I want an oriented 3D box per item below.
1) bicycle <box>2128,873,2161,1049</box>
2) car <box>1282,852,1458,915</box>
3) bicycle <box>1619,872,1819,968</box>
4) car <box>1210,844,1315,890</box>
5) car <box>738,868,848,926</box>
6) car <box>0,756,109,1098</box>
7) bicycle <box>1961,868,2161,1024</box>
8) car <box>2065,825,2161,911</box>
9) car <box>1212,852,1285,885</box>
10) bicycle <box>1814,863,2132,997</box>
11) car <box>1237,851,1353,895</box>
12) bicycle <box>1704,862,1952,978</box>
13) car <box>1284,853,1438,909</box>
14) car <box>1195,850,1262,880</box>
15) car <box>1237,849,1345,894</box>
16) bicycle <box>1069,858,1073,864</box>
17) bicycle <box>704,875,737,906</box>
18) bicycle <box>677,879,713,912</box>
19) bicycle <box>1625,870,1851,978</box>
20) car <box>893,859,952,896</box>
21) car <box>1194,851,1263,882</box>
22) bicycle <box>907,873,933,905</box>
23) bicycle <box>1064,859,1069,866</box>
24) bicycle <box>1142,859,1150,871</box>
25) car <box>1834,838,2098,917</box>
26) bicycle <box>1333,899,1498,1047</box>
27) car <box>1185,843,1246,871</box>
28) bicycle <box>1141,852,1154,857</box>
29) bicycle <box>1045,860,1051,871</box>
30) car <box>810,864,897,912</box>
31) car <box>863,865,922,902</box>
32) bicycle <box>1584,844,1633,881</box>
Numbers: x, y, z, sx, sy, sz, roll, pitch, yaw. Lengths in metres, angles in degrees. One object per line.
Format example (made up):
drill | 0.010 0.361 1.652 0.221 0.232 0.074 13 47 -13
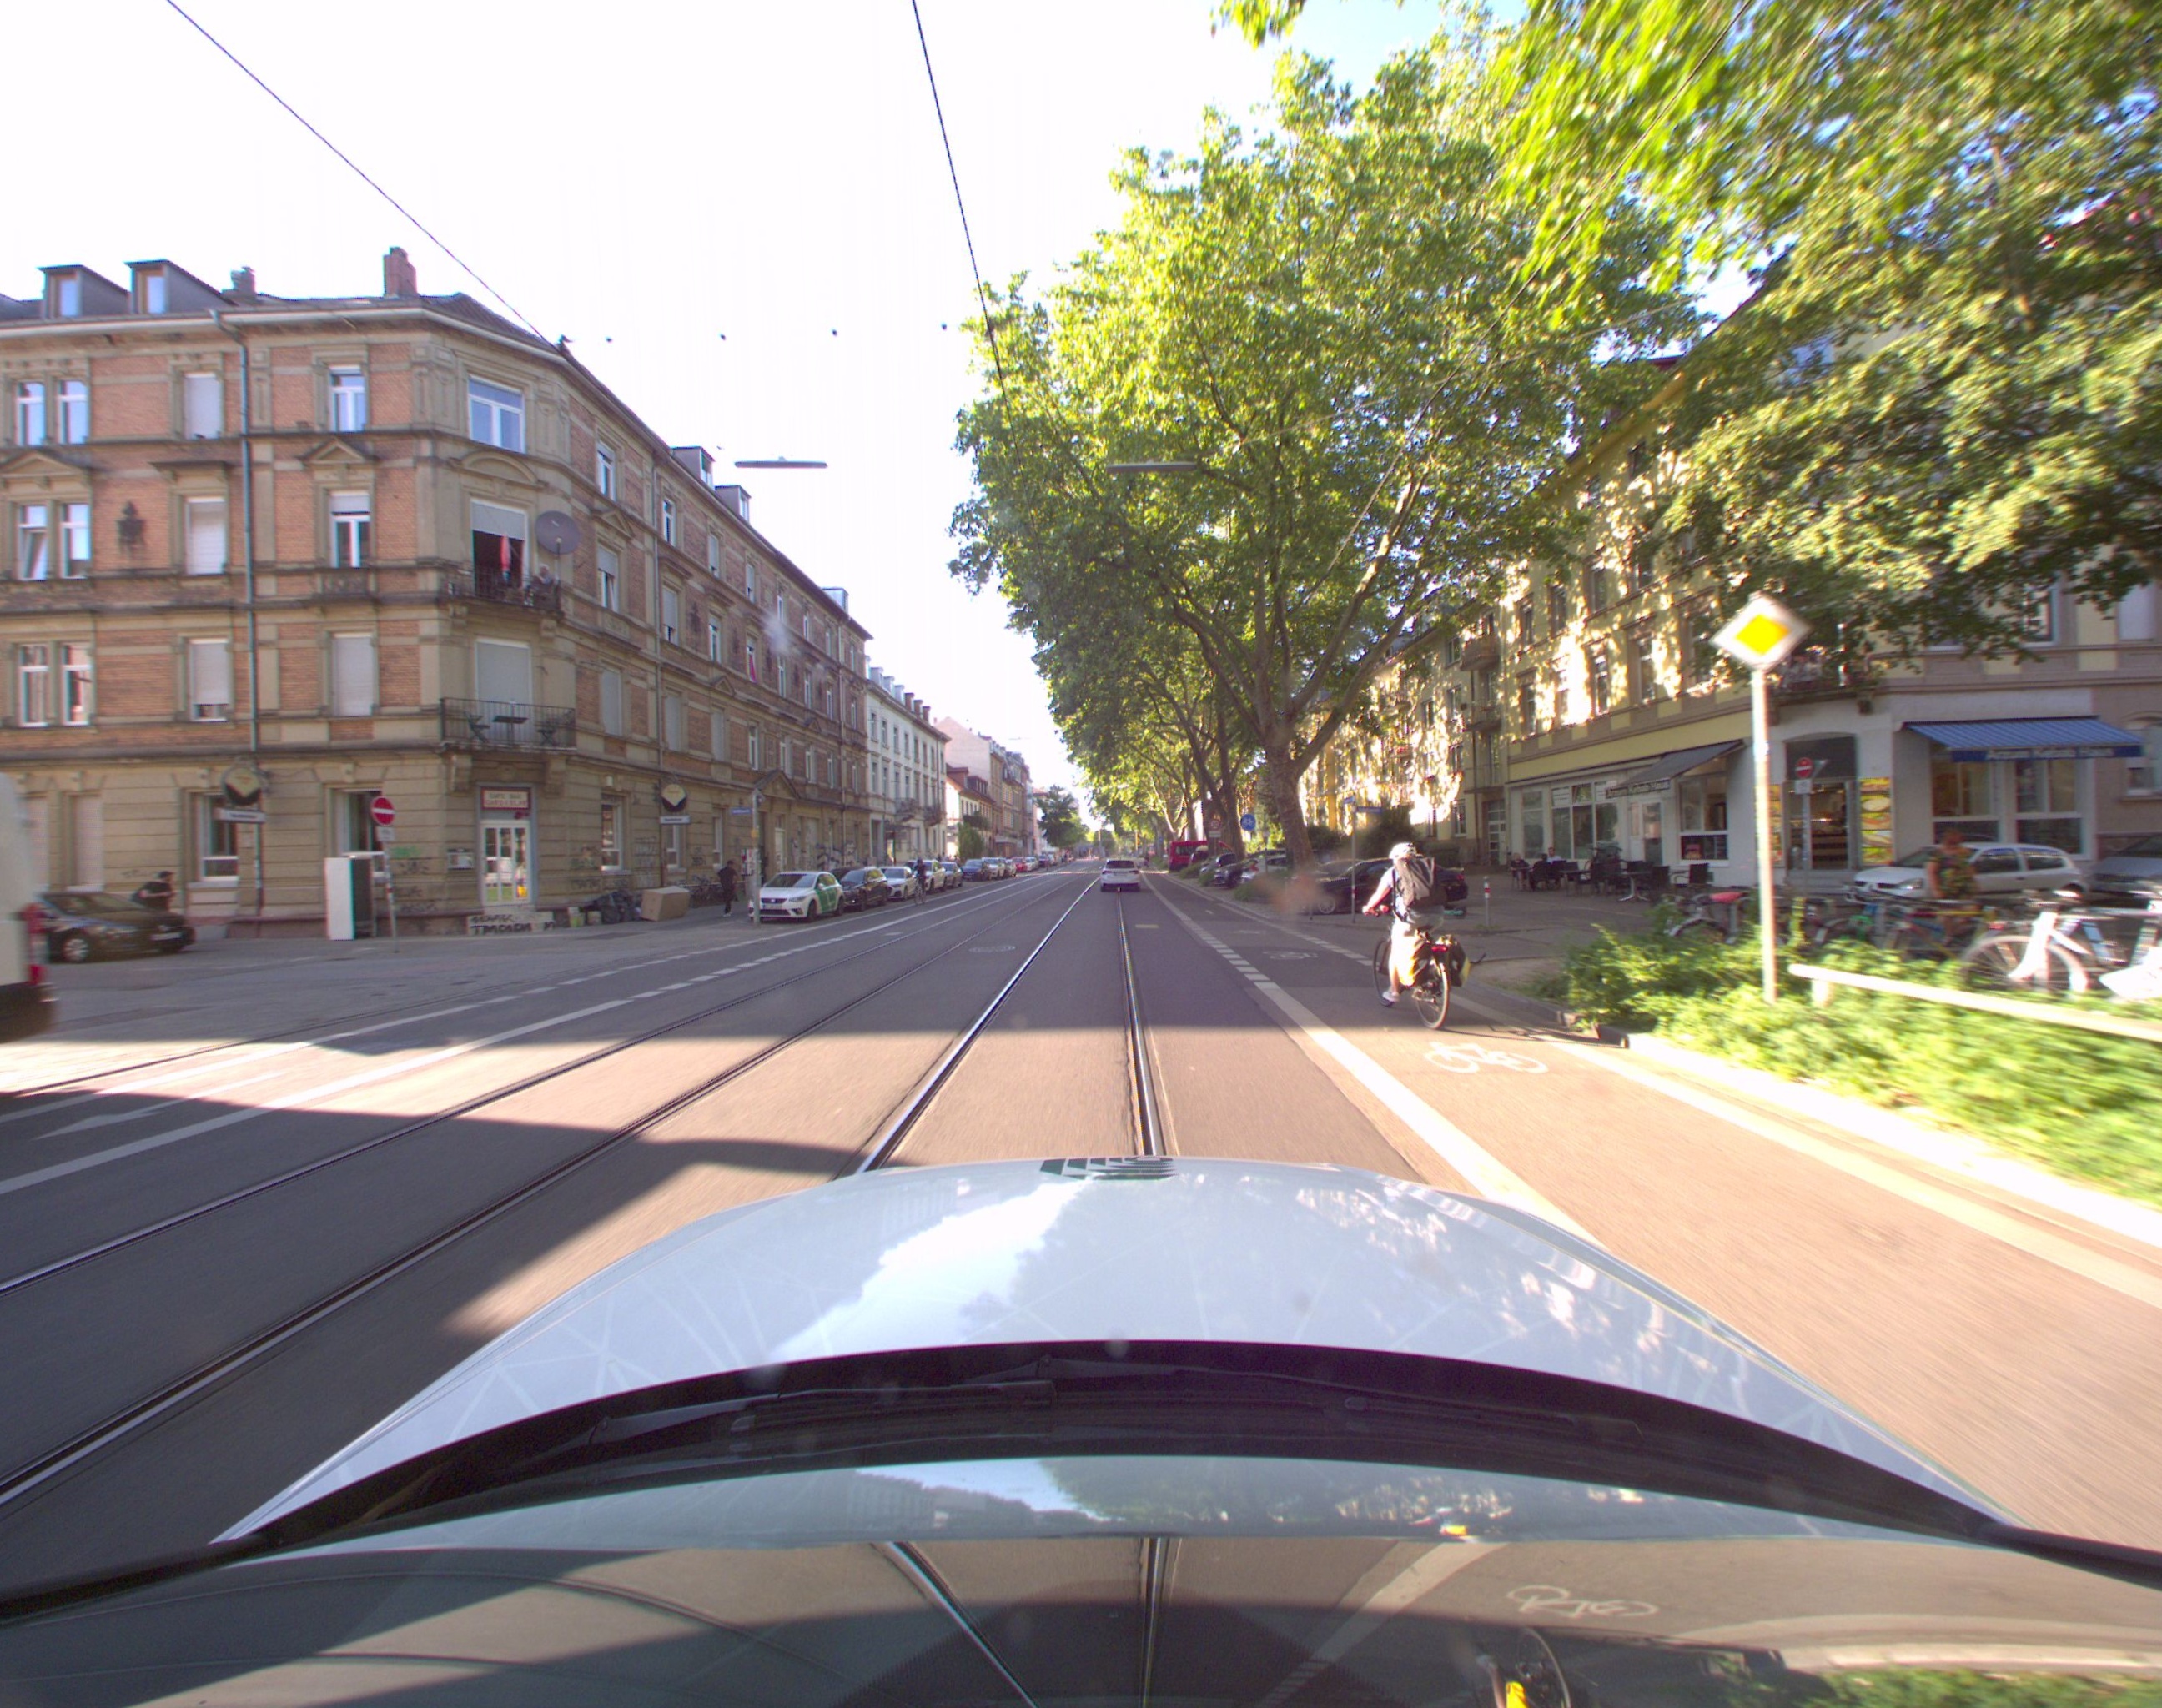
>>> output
bicycle | 8.189 0.703 5.042 2.022 1.179 0.416 -2 -1 39
car | 7.664 0.765 21.875 4.083 1.491 1.830 -2 0 0
bicycle | 8.112 0.835 10.415 2.029 1.179 0.414 -1 -1 10
car | 8.143 0.566 36.871 4.249 1.719 1.849 -4 0 0
car | -8.412 1.203 24.183 1.734 1.492 4.046 0 0 1
car | -9.214 0.566 3.898 2.055 2.535 5.673 -2 0 4
bicycle | 8.397 0.704 6.377 2.024 1.179 0.415 -2 -1 23
car | 22.791 0.220 16.491 3.663 1.616 1.692 -2 2 1
car | 8.963 0.775 43.709 3.581 1.599 1.542 -2 -1 2
bicycle | 8.373 0.696 7.751 2.024 1.179 0.415 -2 -1 23
car | 8.162 0.700 31.296 4.014 1.480 1.681 -2 0 0
bicycle | 7.955 0.702 8.739 2.029 1.179 0.414 -1 -1 10
car | 8.304 0.792 24.455 4.074 1.491 1.684 -2 0 6
car | 8.875 0.661 49.217 3.656 1.523 1.695 -4 0 2
car | 8.663 0.717 33.817 4.014 1.643 1.681 -2 0 0
bicycle | -1.753 1.237 143.945 0.496 0.943 1.924 -4 0 4
bicycle | -13.322 1.334 30.118 0.371 1.034 1.848 -2 0 0
bicycle | -13.338 1.408 28.192 0.371 1.034 1.848 -2 0 0
bicycle | 7.458 0.793 9.314 2.029 1.179 0.414 -1 -1 10
car | -7.763 1.102 40.205 1.779 1.723 4.721 0 0 2
car | 8.327 0.681 46.169 3.581 1.517 1.695 -3 0 2
bicycle | -6.117 1.317 31.058 0.419 1.150 2.233 -3 -1 2
bicycle | -2.439 1.436 137.281 0.482 1.047 2.042 -3 0 4
bicycle | 6.252 1.045 78.284 0.677 1.155 2.966 0 0 3
car | 17.926 0.436 16.619 3.666 1.411 1.691 -2 2 -2
bicycle | 2.993 0.994 7.595 0.593 1.004 2.513 1 0 3
car | 9.220 0.224 55.850 3.807 1.649 1.767 -3 -1 -1
bicycle | 14.727 0.159 179.191 2.748 0.999 0.595 0 0 17
bicycle | -3.490 1.233 85.811 0.479 1.086 1.848 -2 0 3
car | -8.179 1.167 29.709 1.734 1.562 4.787 0 0 1
car | -7.984 1.214 34.763 1.694 1.420 3.997 0 0 -2
bicycle | 17.338 0.262 26.800 0.468 1.156 1.747 -3 0 3
